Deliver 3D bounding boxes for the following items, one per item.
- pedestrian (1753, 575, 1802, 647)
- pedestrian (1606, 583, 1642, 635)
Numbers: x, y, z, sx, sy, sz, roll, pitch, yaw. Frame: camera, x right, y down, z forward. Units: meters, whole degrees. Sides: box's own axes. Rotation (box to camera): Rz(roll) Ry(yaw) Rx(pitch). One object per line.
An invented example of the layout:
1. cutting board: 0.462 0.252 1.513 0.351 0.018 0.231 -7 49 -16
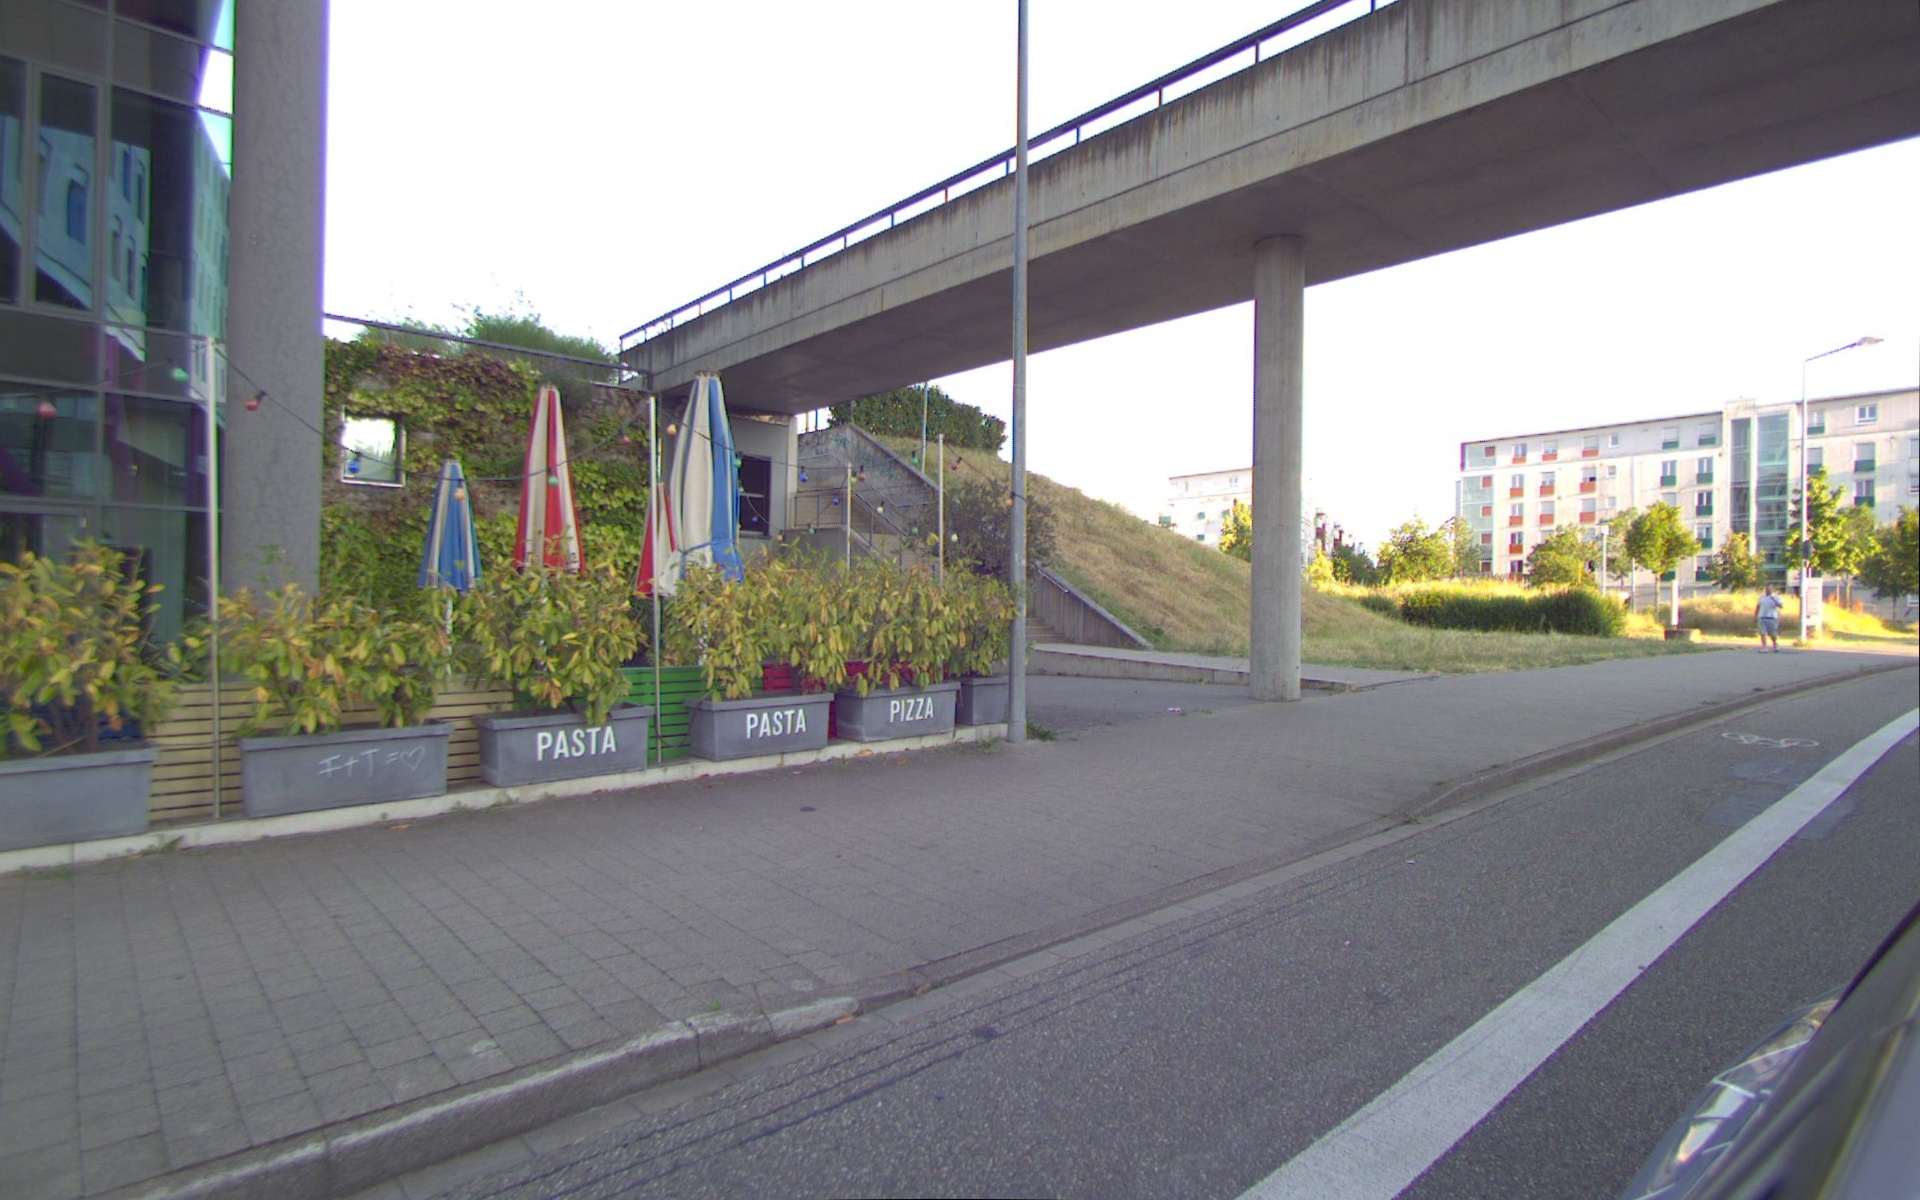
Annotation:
1. pedestrian: 20.565 0.267 25.461 0.890 1.745 0.737 1 2 -40
2. pedestrian: 21.800 0.278 33.230 0.844 1.650 0.737 1 2 -40
